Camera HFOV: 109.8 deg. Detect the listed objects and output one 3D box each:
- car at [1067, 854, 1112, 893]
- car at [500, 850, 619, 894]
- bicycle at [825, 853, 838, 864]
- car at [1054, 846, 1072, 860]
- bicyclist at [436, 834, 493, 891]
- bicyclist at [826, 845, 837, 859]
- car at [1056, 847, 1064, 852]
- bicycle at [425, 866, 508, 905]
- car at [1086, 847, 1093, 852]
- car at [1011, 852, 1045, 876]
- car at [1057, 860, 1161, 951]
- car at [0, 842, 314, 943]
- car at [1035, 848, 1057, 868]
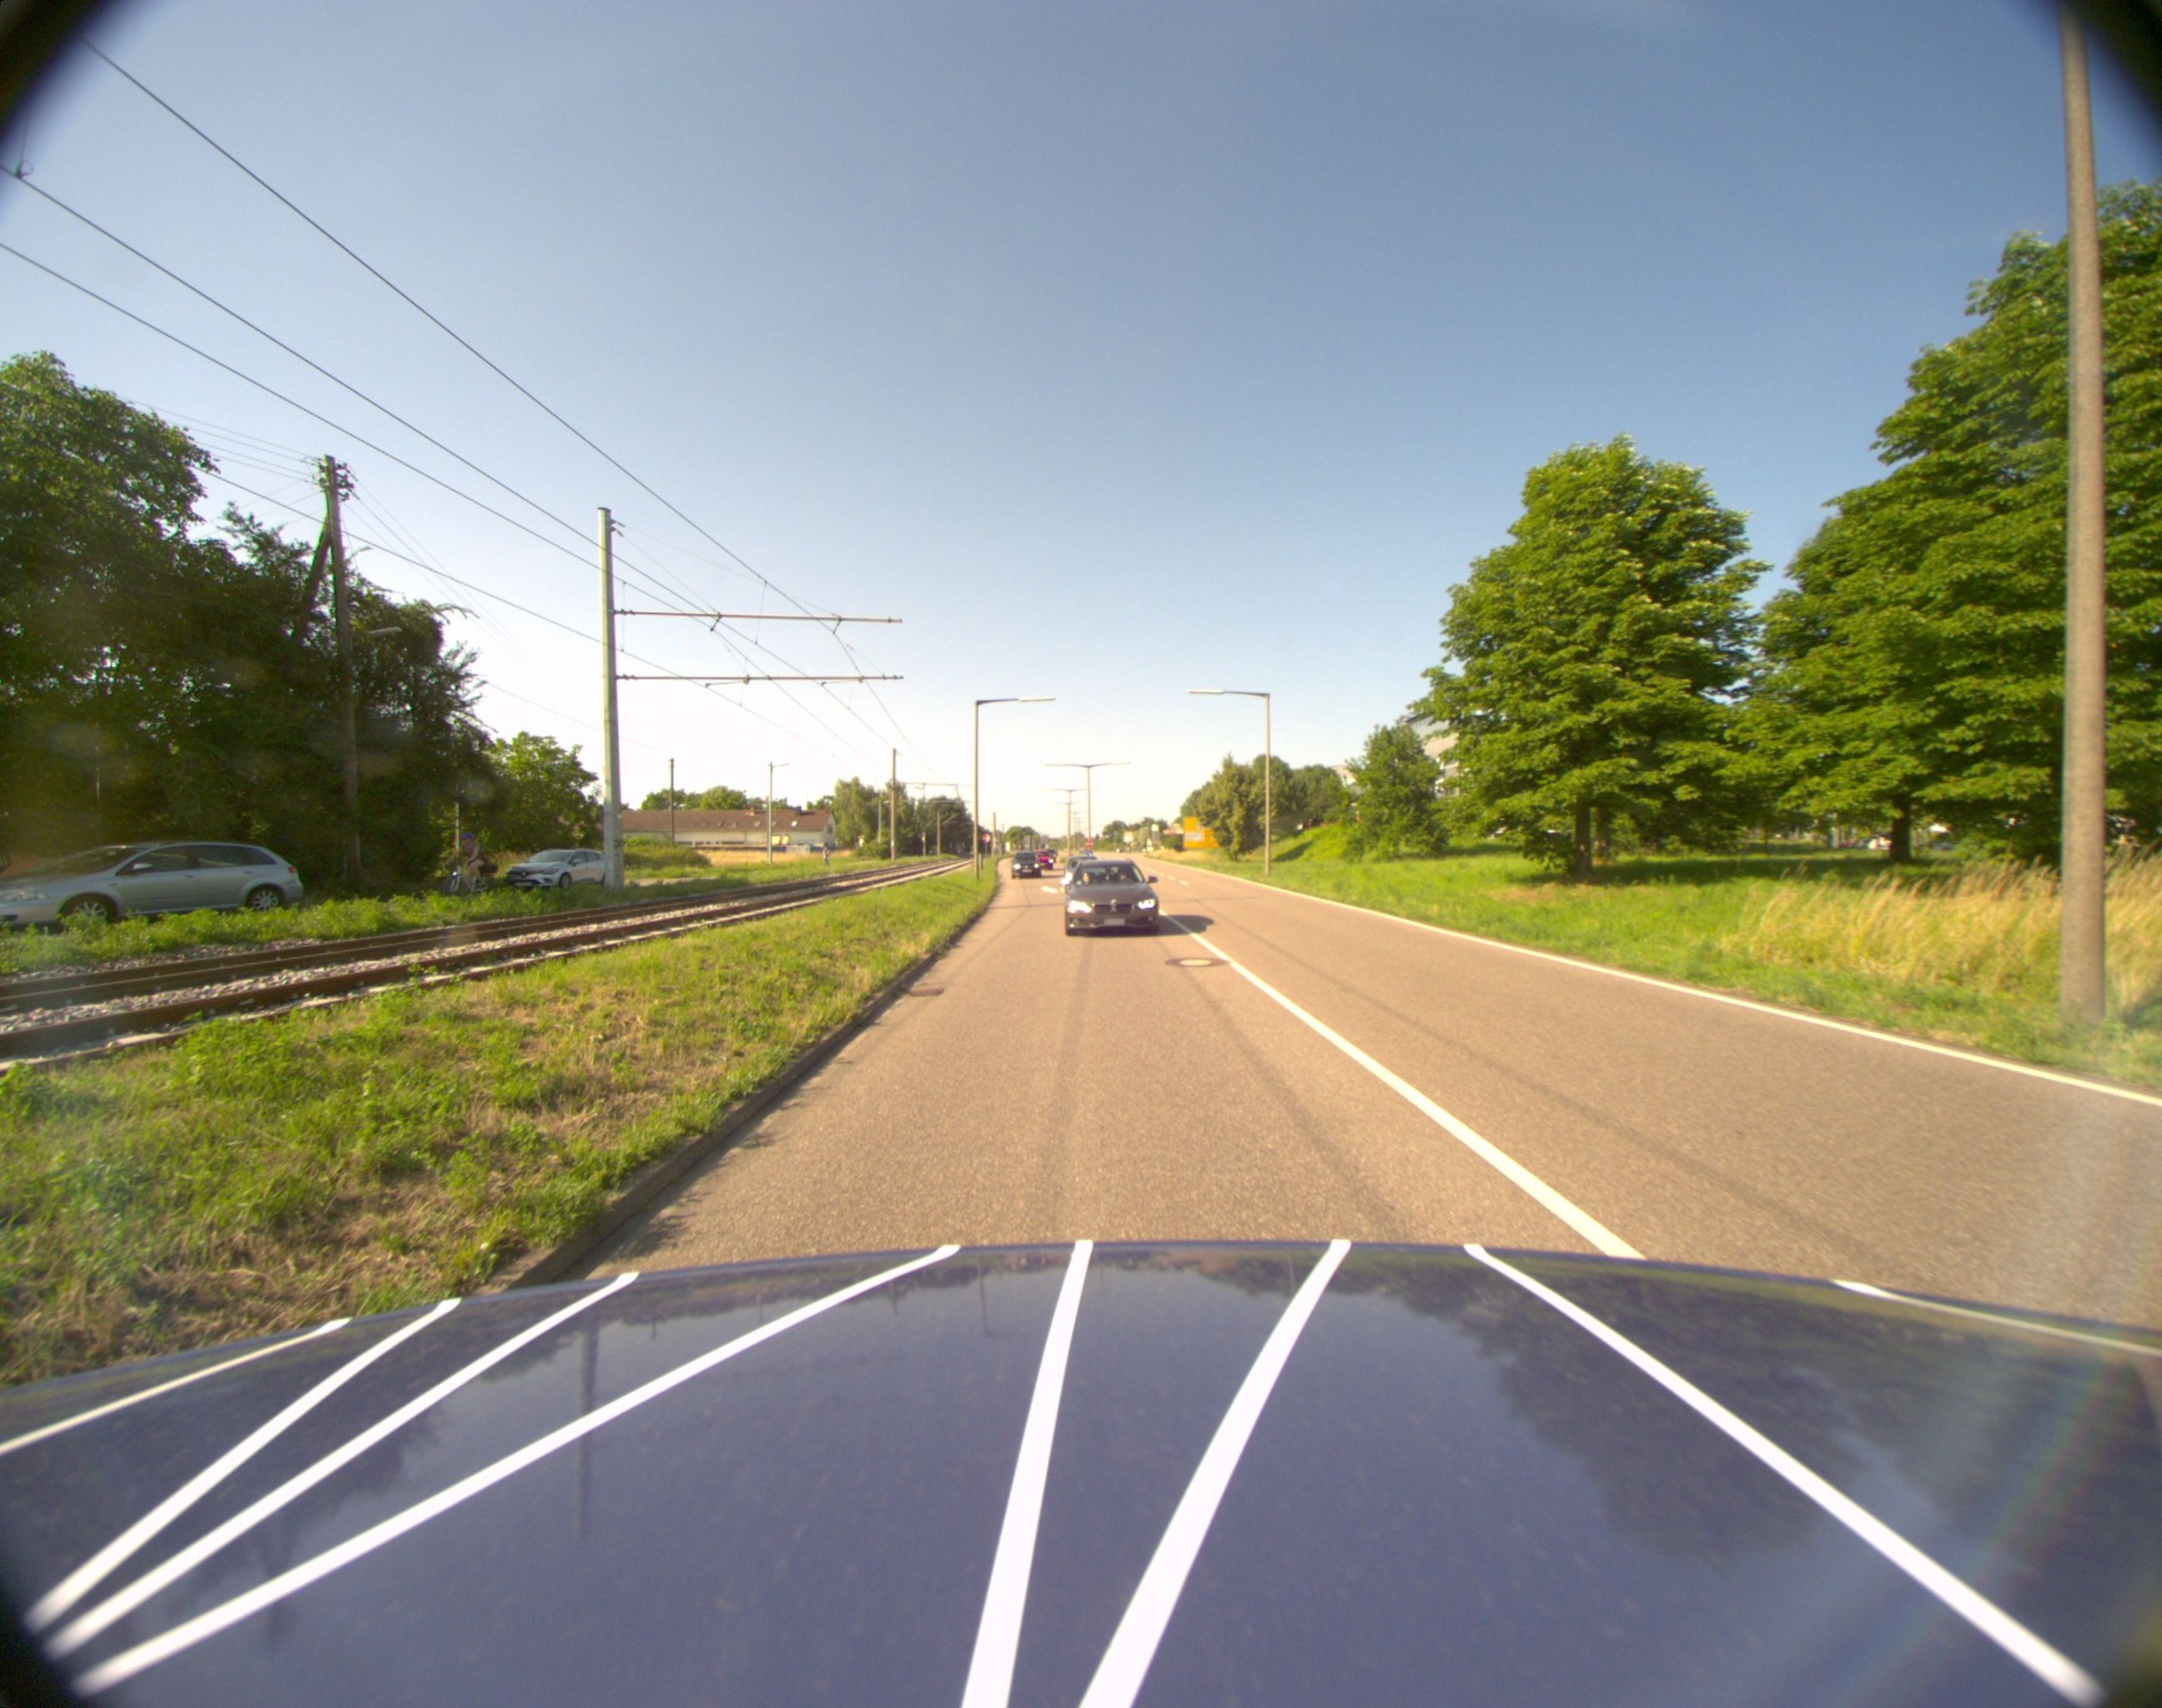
[{"bbox_3d":[0.324,0.758,31.779,1.711,1.444,4.589,-2,0,0],"label":"car"},{"bbox_3d":[-18.022,0.567,26.490,1.538,1.440,4.129,0,0,-4],"label":"car"},{"bbox_3d":[-21.735,0.363,66.218,0.644,0.904,1.813,-2,1,-2],"label":"bicycle"},{"bbox_3d":[-2.100,-0.127,87.797,1.968,1.504,4.807,-1,1,-2],"label":"car"},{"bbox_3d":[-15.779,0.211,19.470,0.631,1.414,0.962,-1,1,-2],"label":"bicyclist"},{"bbox_3d":[-21.749,-0.161,66.219,0.641,1.226,0.791,-2,1,-3],"label":"bicyclist"},{"bbox_3d":[-5.781,-1.219,211.479,1.838,1.504,4.151,-2,0,-6],"label":"car"},{"bbox_3d":[-15.771,0.794,19.561,0.644,0.904,1.843,-1,1,-2],"label":"bicycle"},{"bbox_3d":[2.678,-1.485,228.213,1.564,1.369,3.383,-3,2,-7],"label":"car"},{"bbox_3d":[-3.221,0.588,46.911,1.848,1.347,4.153,-2,0,-2],"label":"car"},{"bbox_3d":[0.474,0.902,15.058,1.747,1.444,3.946,-1,1,0],"label":"car"},{"bbox_3d":[-17.748,0.593,14.207,1.912,1.581,4.727,0,0,2],"label":"car"},{"bbox_3d":[-2.803,0.337,61.510,1.607,1.504,4.267,-2,0,-2],"label":"car"}]
